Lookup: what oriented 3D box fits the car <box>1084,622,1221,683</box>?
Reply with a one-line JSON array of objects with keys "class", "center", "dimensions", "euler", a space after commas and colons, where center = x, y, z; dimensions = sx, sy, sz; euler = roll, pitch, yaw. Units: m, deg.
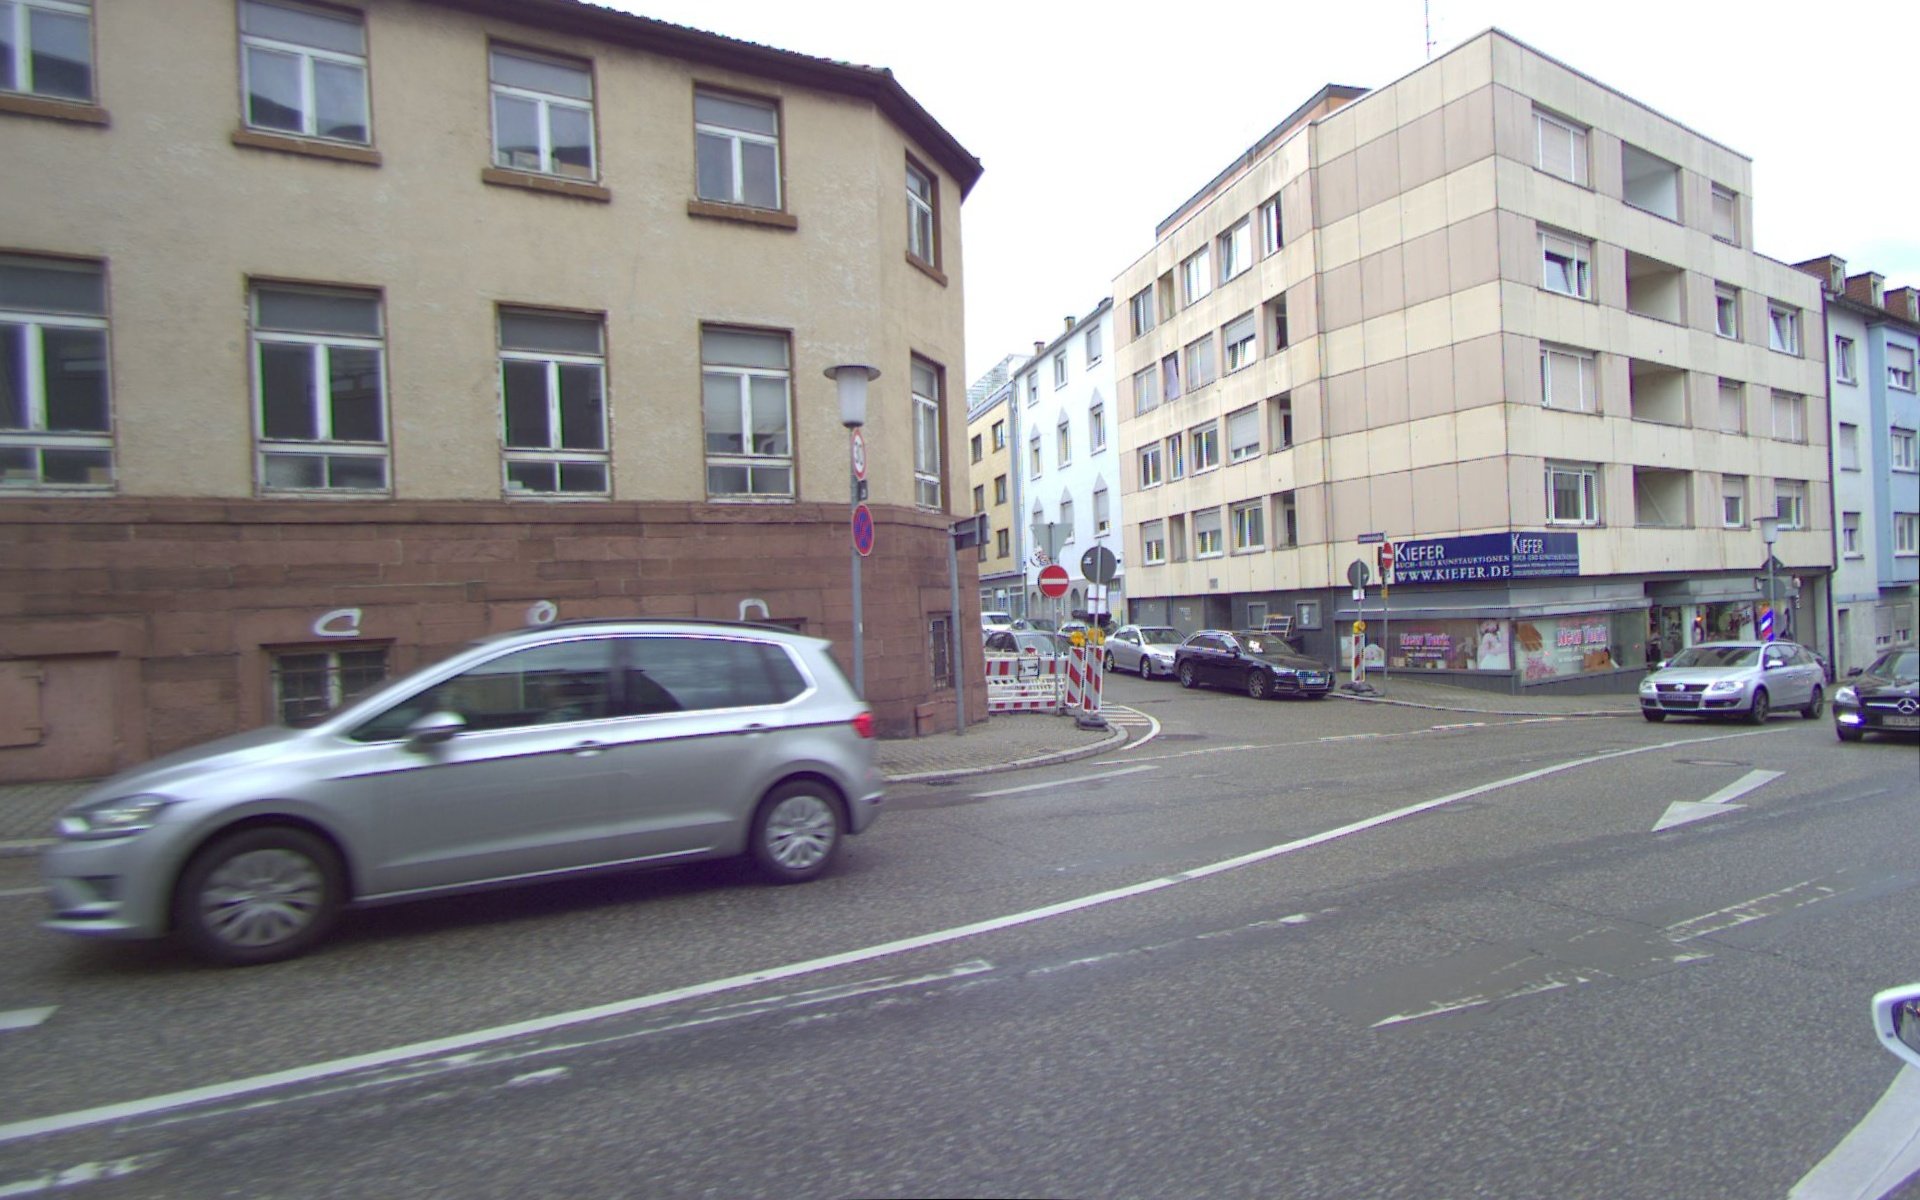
[{"class": "car", "center": [5.398, 1.445, 28.758], "dimensions": [1.869, 1.532, 4.327], "euler": [1, -1, -20]}]

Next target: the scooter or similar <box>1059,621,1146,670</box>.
[{"class": "scooter or similar", "center": [4.591, 1.449, 32.734], "dimensions": [1.665, 1.346, 3.080], "euler": [-4, 1, -16]}]

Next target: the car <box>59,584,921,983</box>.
[{"class": "car", "center": [-2.410, 0.861, 5.960], "dimensions": [4.102, 1.606, 1.704], "euler": [2, -5, -35]}]

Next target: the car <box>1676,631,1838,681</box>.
[{"class": "car", "center": [26.953, 1.859, 34.079], "dimensions": [1.780, 1.519, 3.964], "euler": [2, -2, -33]}]

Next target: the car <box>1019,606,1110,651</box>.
[{"class": "car", "center": [3.760, 1.025, 37.053], "dimensions": [1.867, 1.532, 4.333], "euler": [1, -1, -16]}]

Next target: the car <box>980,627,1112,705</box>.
[{"class": "car", "center": [1.928, 1.478, 23.862], "dimensions": [1.701, 1.531, 3.985], "euler": [-2, 0, -18]}]

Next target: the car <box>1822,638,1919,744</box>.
[{"class": "car", "center": [13.980, 1.229, 14.343], "dimensions": [4.105, 1.335, 1.702], "euler": [1, -2, -37]}]

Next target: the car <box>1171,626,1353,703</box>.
[{"class": "car", "center": [6.941, 1.440, 23.593], "dimensions": [1.869, 1.532, 4.327], "euler": [1, -1, -20]}]

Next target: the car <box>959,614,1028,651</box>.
[{"class": "car", "center": [1.426, 1.407, 44.545], "dimensions": [1.867, 1.532, 4.333], "euler": [1, -1, -16]}]

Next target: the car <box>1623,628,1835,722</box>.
[{"class": "car", "center": [14.411, 1.383, 18.754], "dimensions": [4.595, 1.558, 1.734], "euler": [2, -5, -34]}]
